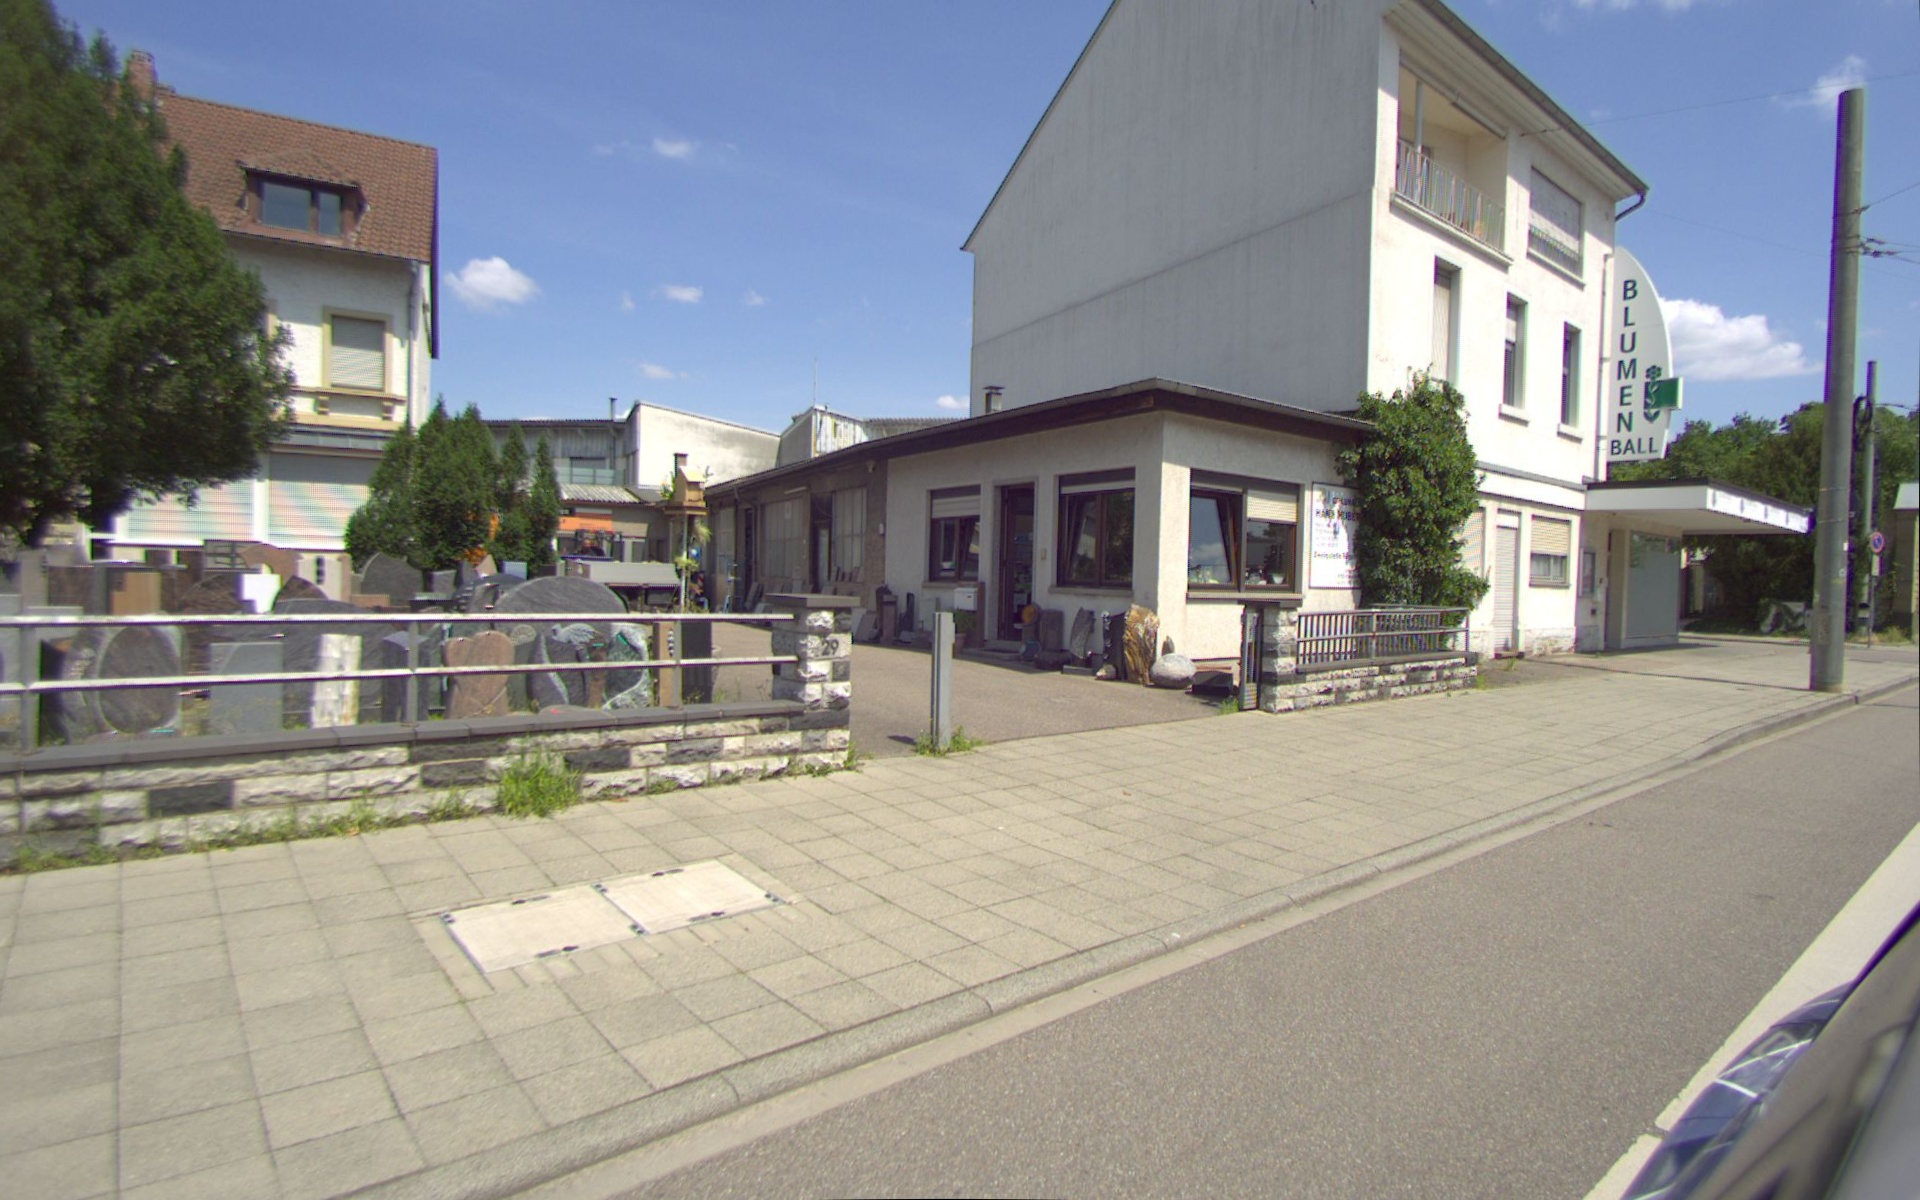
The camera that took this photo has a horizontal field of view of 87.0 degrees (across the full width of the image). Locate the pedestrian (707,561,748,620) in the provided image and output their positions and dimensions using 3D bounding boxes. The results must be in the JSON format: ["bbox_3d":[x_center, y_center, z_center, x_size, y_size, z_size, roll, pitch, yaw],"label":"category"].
[{"bbox_3d":[-5.387,-0.227,23.469,0.704,1.306,0.646,-1,4,-40],"label":"pedestrian"}]

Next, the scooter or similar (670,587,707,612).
[{"bbox_3d":[-6.689,-0.013,24.963,0.741,0.581,0.490,-1,4,-40],"label":"scooter or similar"}]

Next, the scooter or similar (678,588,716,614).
[{"bbox_3d":[-6.375,0.024,24.557,0.741,0.595,0.490,-1,4,-40],"label":"scooter or similar"}]

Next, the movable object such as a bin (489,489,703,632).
[{"bbox_3d":[-7.367,-0.819,20.608,3.740,2.650,1.745,-1,4,-39],"label":"movable object such as a bin"}]
